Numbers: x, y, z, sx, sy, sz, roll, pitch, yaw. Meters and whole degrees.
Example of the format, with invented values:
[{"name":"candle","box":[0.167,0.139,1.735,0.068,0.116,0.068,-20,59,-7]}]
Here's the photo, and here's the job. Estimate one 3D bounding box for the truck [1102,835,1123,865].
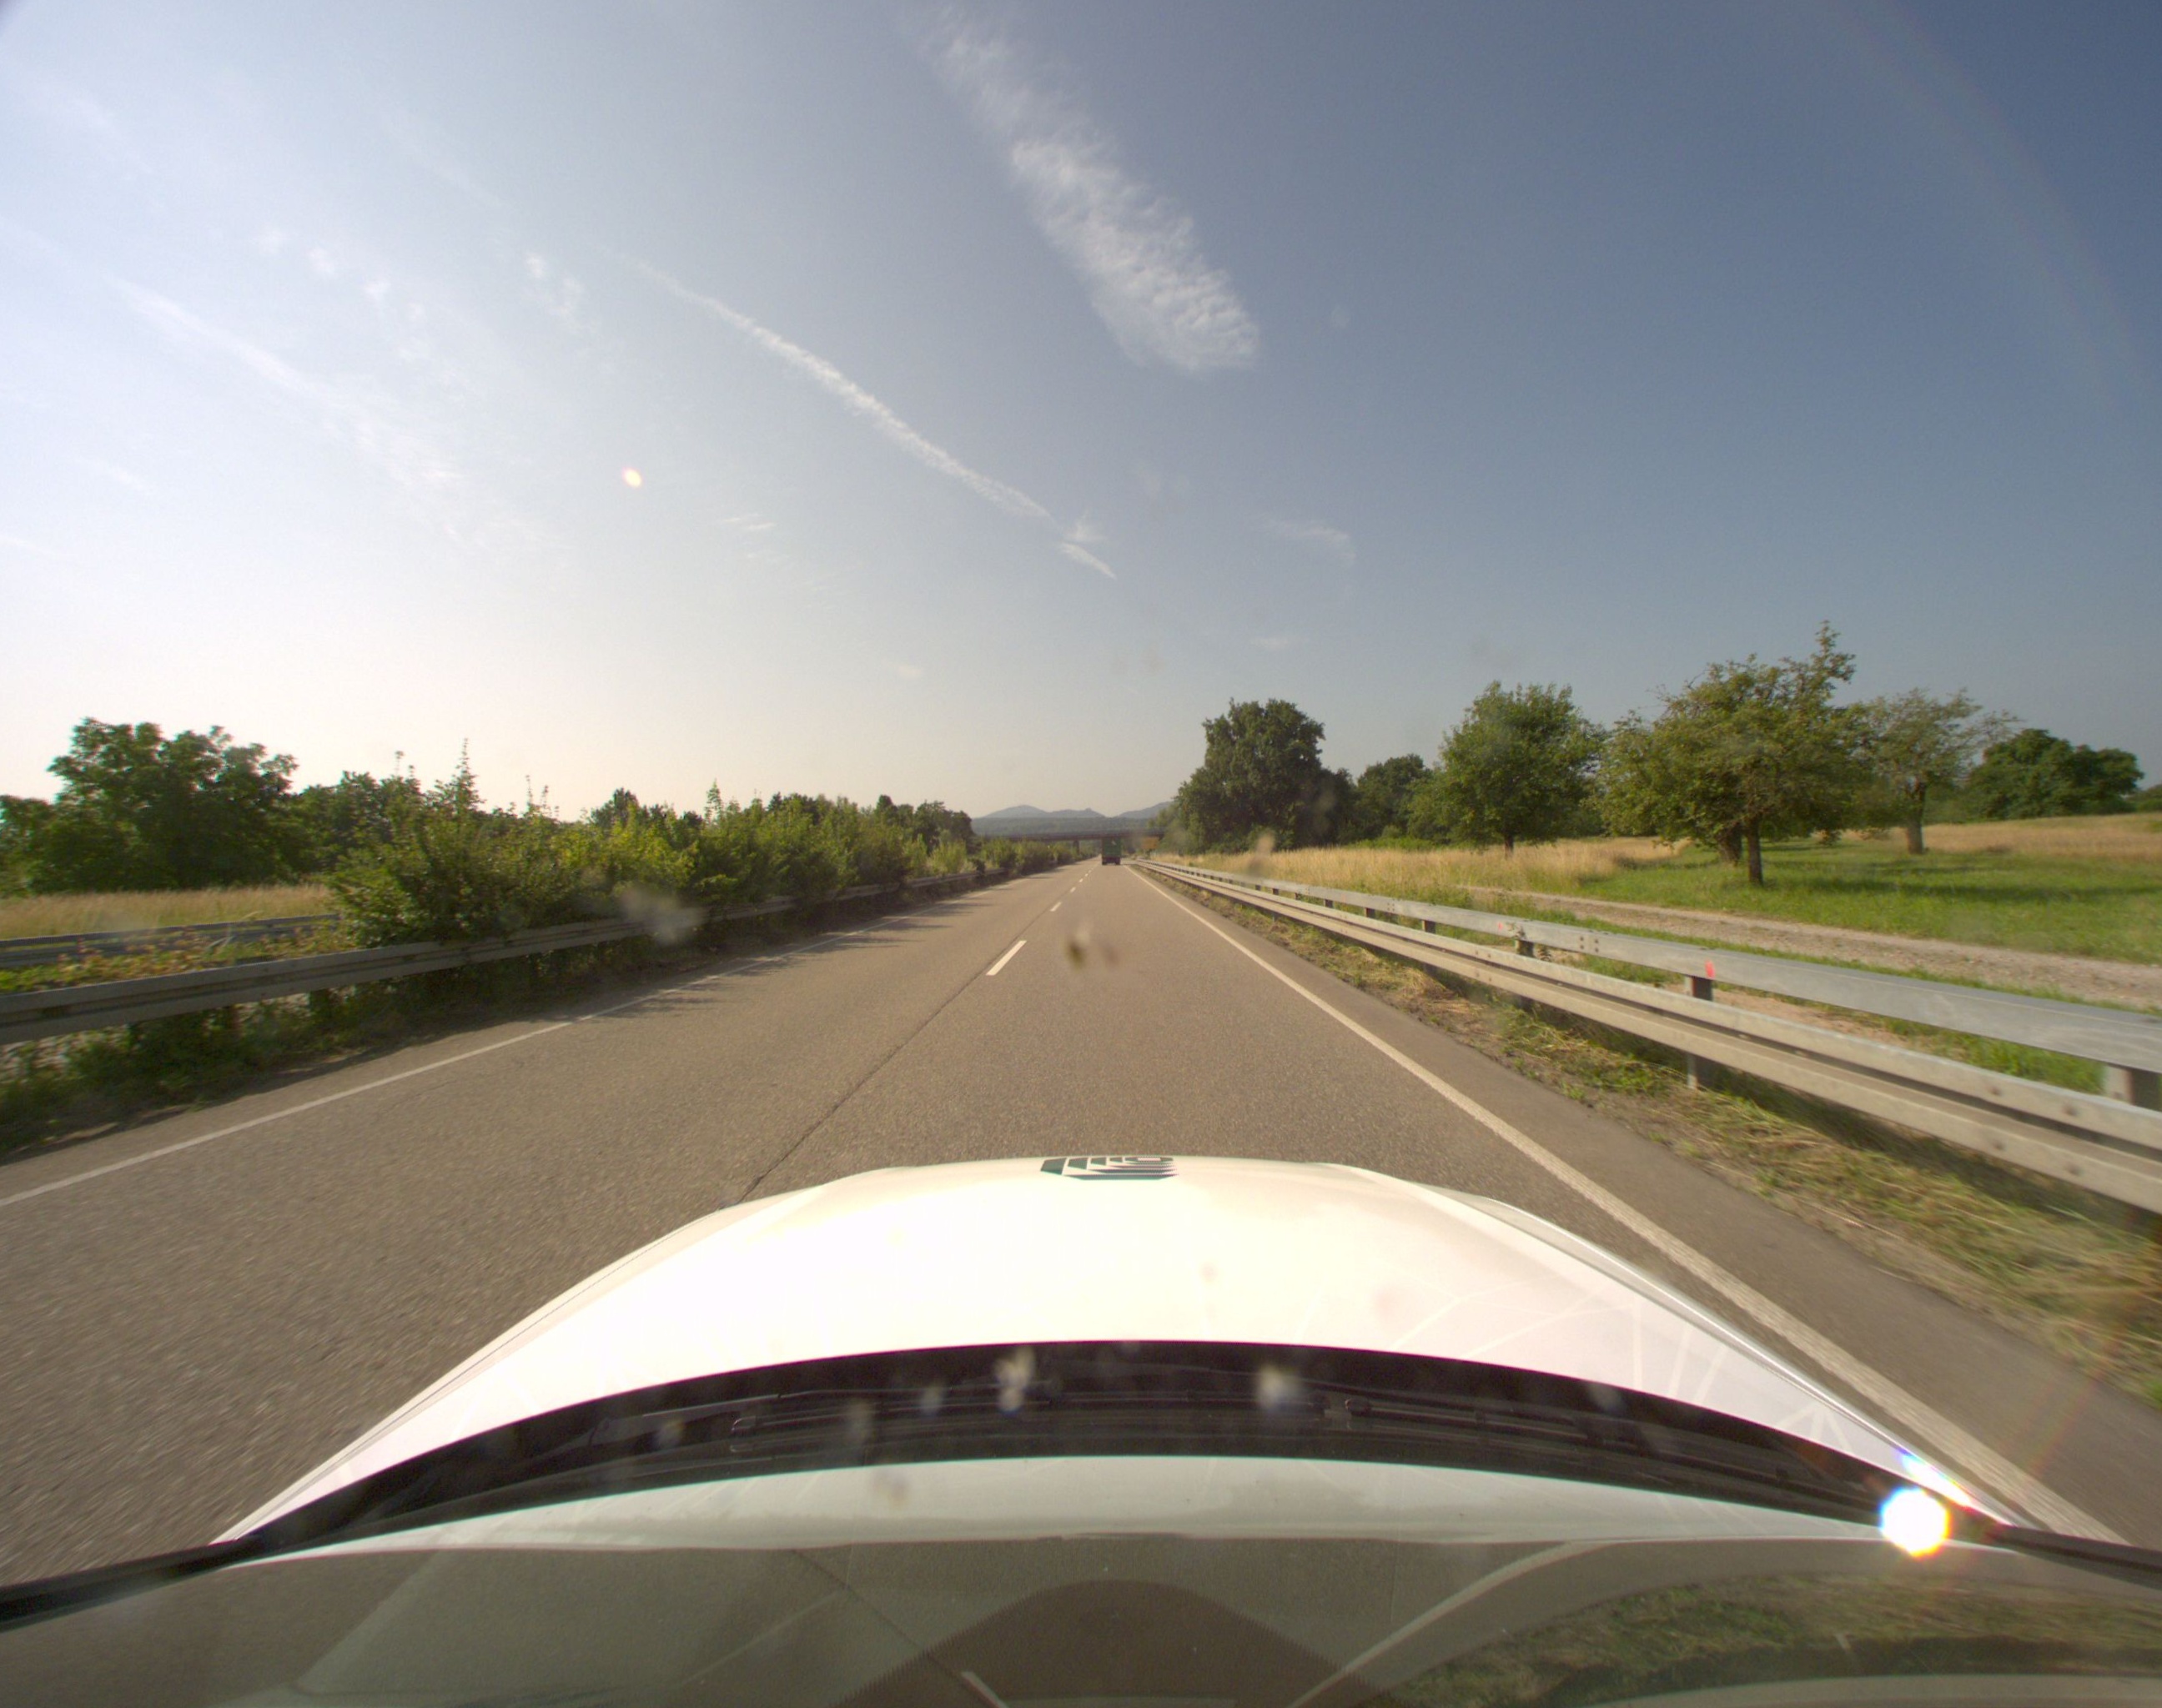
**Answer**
[{"name":"truck","box":[4.274,-0.630,111.446,2.711,3.965,10.422,0,1,2]}]
